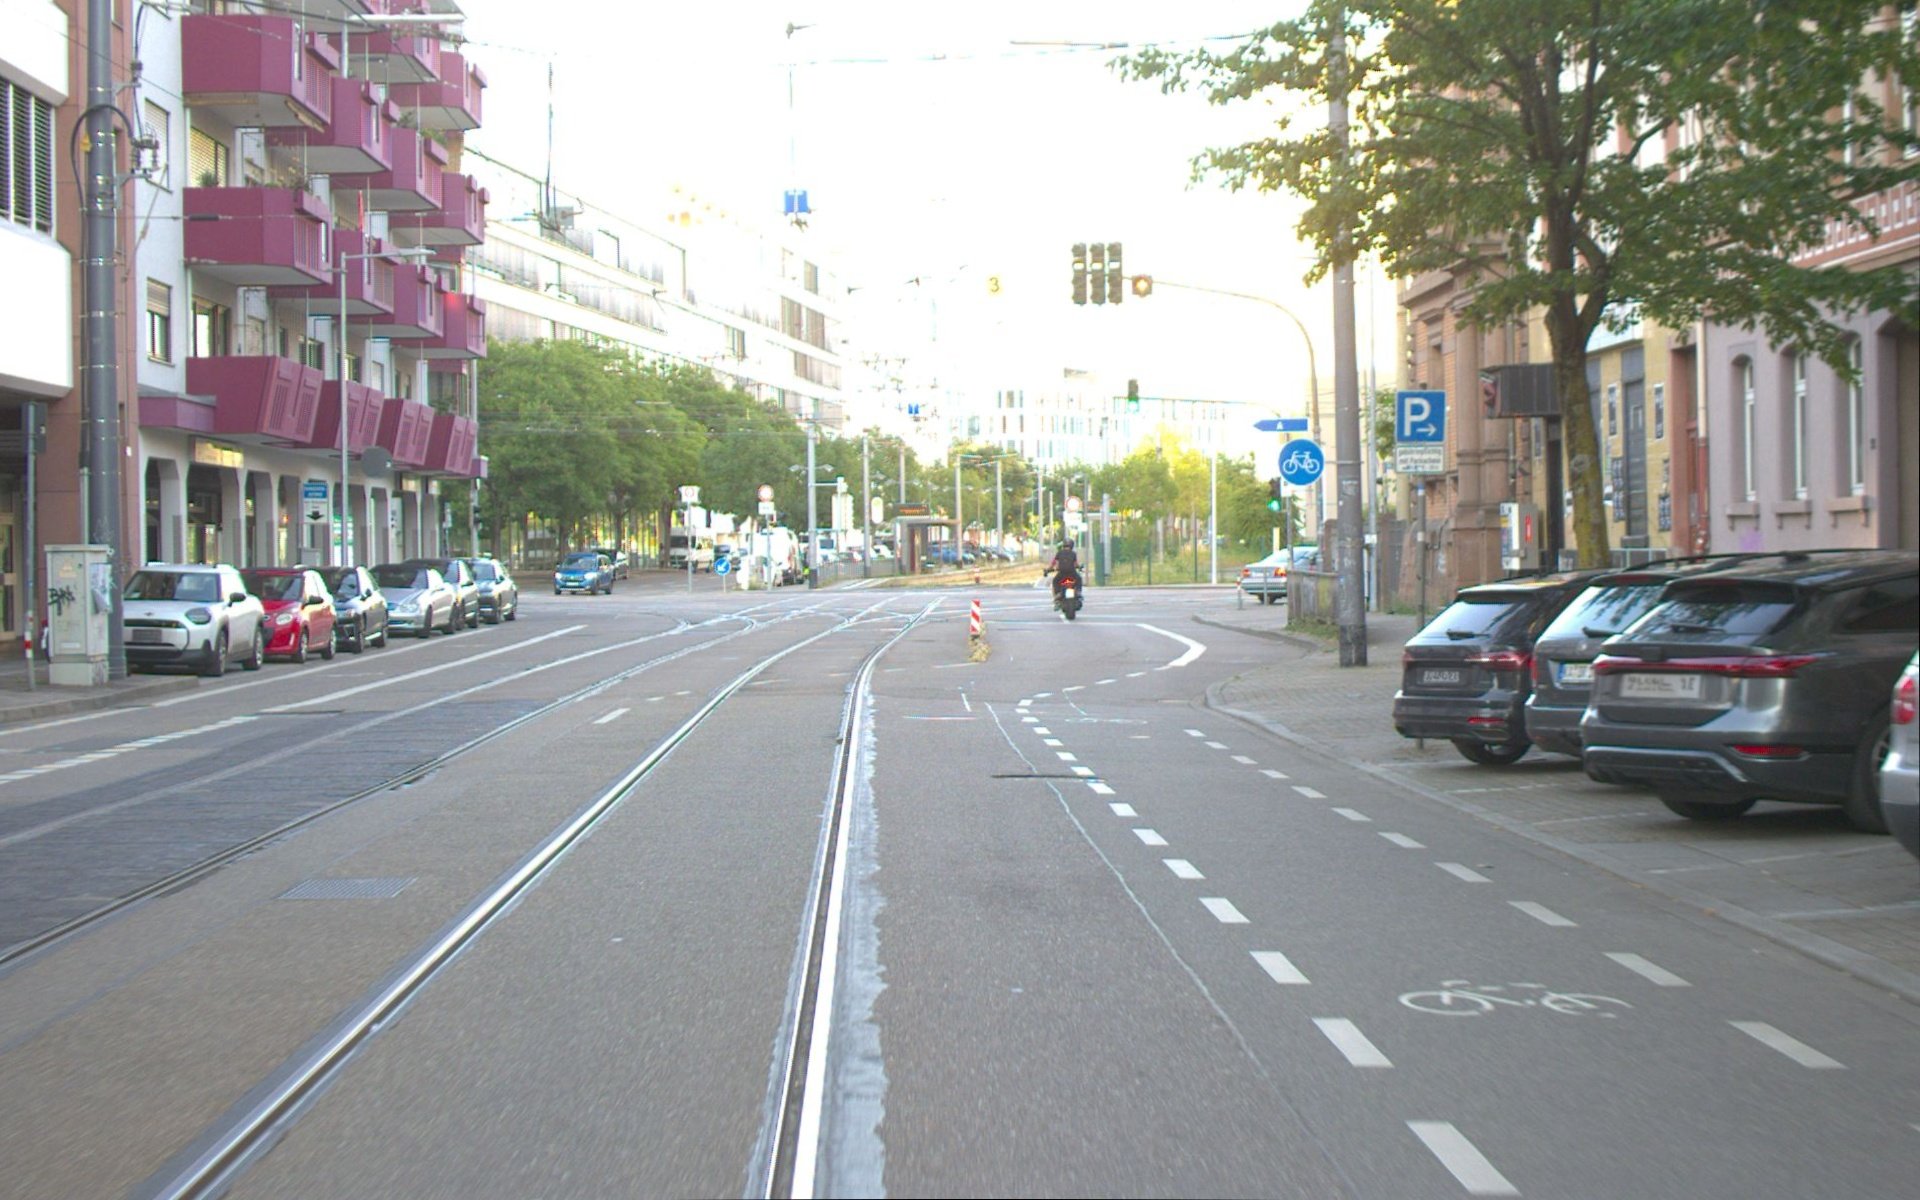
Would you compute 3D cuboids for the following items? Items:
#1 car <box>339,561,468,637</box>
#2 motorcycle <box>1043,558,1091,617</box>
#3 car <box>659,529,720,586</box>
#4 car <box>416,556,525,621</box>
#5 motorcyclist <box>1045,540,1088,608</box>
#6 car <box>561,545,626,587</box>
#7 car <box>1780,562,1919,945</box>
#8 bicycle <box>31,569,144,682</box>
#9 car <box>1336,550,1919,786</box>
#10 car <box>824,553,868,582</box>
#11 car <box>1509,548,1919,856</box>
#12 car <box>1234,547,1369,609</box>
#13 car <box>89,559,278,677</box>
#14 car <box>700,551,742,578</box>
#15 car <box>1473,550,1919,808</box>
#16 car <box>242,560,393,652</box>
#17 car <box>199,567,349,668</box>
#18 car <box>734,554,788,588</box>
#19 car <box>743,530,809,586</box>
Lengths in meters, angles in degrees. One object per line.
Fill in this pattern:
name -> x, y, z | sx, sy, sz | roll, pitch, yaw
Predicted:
car -> -11.004, -0.043, 68.252 | 1.691, 1.409, 4.677 | 1, 1, 1
motorcycle -> 2.322, -0.285, 75.113 | 0.828, 1.236, 2.491 | -1, 1, -3
car -> -15.161, -2.403, 192.835 | 2.202, 3.141, 6.141 | -1, 1, 7
car -> -11.337, -0.296, 79.901 | 1.851, 1.452, 5.086 | 0, 1, -1
motorcyclist -> 2.316, -0.576, 75.140 | 0.828, 1.468, 1.207 | -1, 1, -3
car -> -14.959, -1.402, 140.488 | 1.683, 1.694, 4.238 | -1, 1, 8
car -> 5.426, 0.561, 14.386 | 3.554, 1.511, 1.744 | -2, 1, -26
bicycle -> -10.988, 0.303, 43.381 | 0.608, 1.373, 2.258 | 0, 1, 6
car -> 5.220, 0.444, 25.391 | 4.604, 1.452, 1.711 | -3, 1, -25
car -> -5.796, -1.670, 175.794 | 1.683, 1.434, 4.125 | -1, 1, 6
car -> 5.564, 0.472, 19.373 | 4.443, 1.511, 2.064 | -2, 1, -24
car -> 8.827, -0.585, 88.611 | 1.720, 1.550, 4.196 | 1, 1, 33
car -> -10.789, 0.219, 48.040 | 1.717, 1.550, 4.204 | 1, 1, -1
car -> -14.064, -2.091, 202.207 | 1.683, 1.496, 4.238 | -1, 1, 7
car -> 5.552, 0.451, 22.349 | 3.986, 1.487, 1.831 | -2, 0, -25
car -> -11.153, 0.073, 59.942 | 1.993, 1.474, 4.483 | 2, 1, -3
car -> -10.734, 0.249, 53.972 | 1.611, 1.474, 3.479 | 2, 1, 0
car -> -8.706, -1.282, 150.786 | 1.683, 1.434, 4.125 | -1, 1, 6
car -> -8.344, -1.907, 156.606 | 2.461, 2.474, 5.808 | -1, 1, 2
